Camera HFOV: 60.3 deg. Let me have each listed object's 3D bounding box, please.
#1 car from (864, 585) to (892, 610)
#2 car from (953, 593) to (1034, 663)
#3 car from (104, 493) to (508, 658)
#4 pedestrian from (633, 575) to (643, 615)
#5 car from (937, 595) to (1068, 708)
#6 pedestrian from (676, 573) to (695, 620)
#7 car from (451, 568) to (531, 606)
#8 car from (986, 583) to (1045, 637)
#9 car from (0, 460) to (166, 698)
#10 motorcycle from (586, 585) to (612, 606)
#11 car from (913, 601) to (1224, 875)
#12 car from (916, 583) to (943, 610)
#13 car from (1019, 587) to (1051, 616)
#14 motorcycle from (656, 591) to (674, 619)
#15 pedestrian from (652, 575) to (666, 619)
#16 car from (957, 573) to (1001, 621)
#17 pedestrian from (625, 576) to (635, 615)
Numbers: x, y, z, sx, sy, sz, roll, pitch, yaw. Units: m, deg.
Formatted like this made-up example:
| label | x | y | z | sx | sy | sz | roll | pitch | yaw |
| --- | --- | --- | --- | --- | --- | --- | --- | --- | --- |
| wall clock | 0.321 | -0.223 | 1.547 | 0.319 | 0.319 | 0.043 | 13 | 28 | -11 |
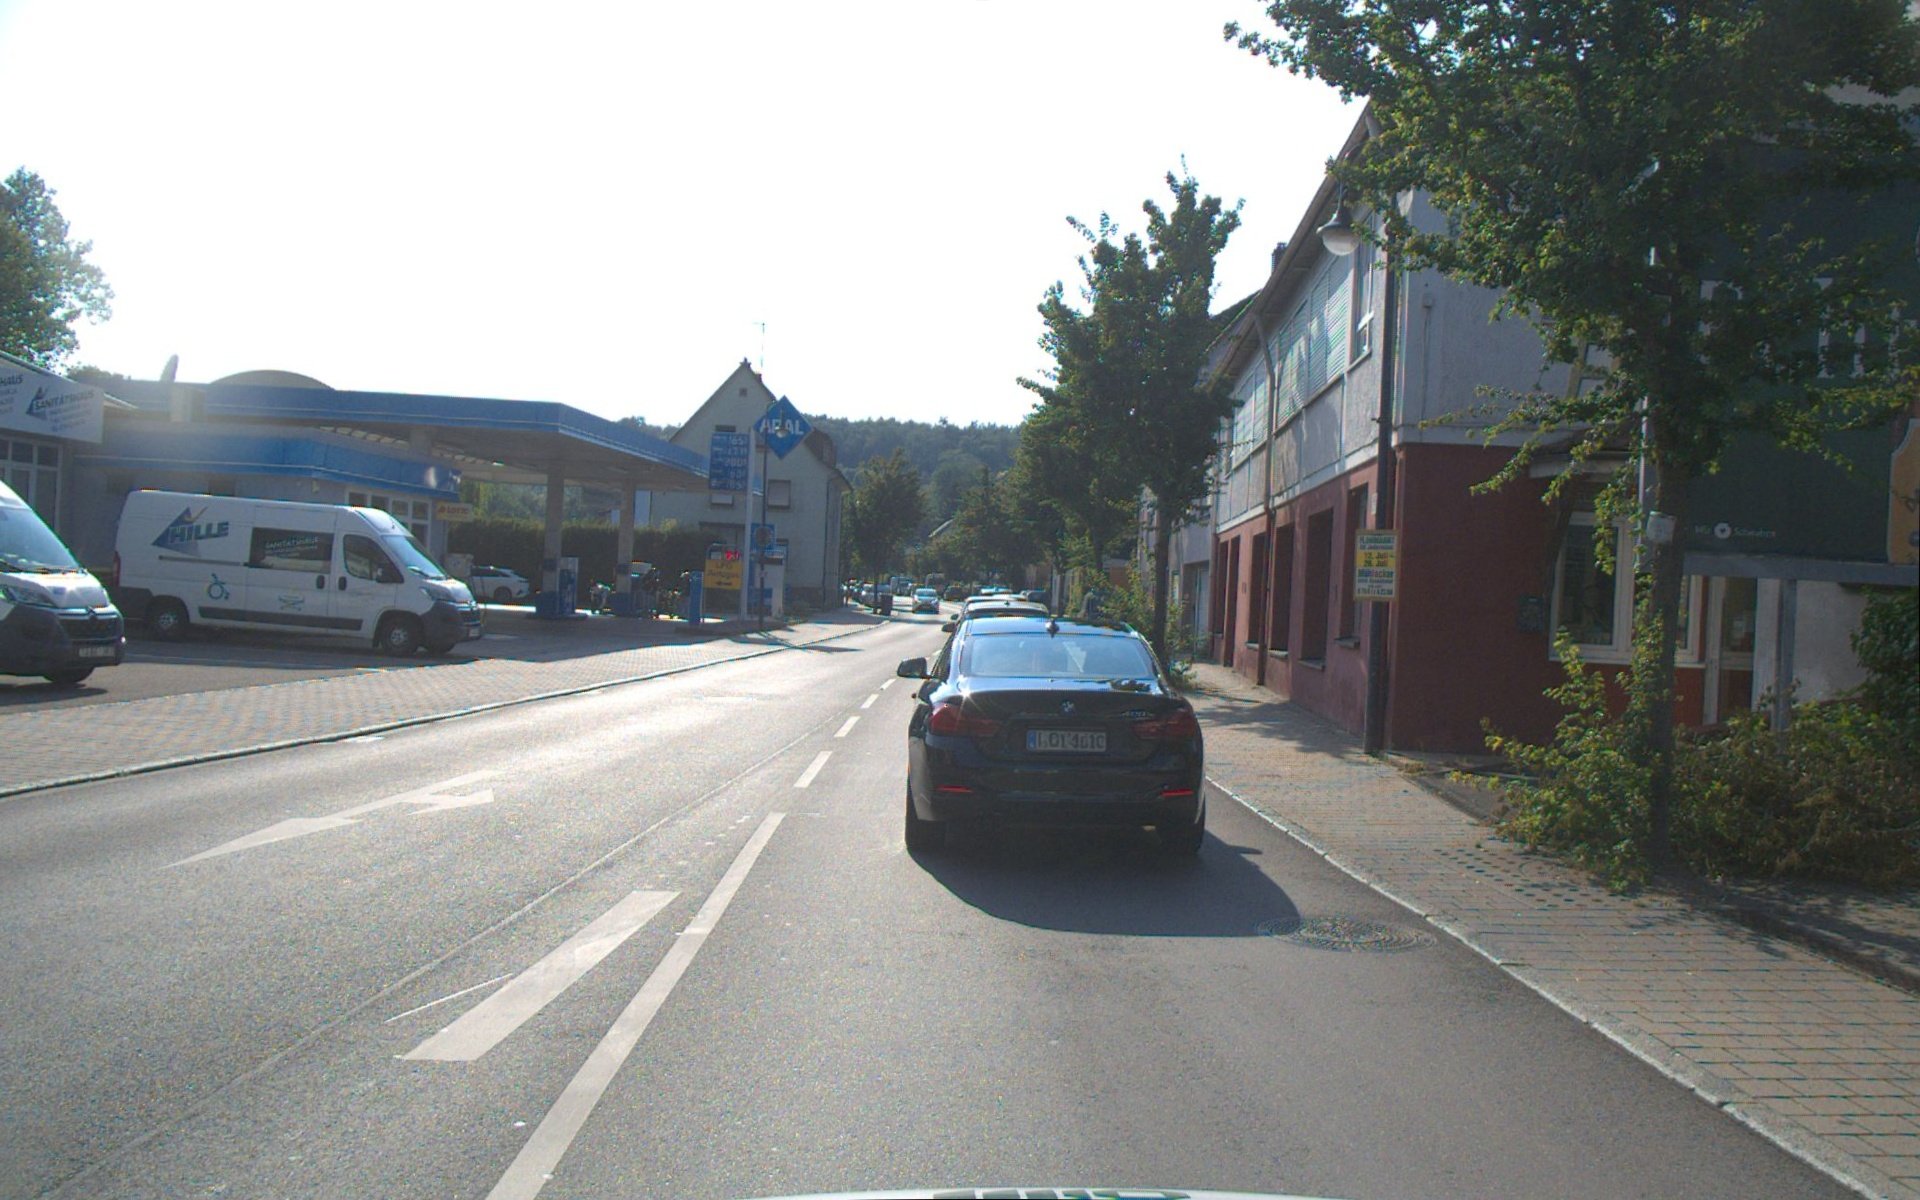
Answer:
| label | x | y | z | sx | sy | sz | roll | pitch | yaw |
| --- | --- | --- | --- | --- | --- | --- | --- | --- | --- |
| car | -5.278 | -0.181 | 106.713 | 1.564 | 1.511 | 3.474 | 2 | 1 | -1 |
| car | 0.769 | 0.603 | 37.569 | 1.717 | 1.438 | 3.422 | 2 | 1 | 1 |
| car | -11.255 | -0.425 | 28.800 | 6.032 | 2.487 | 2.250 | 3 | 1 | 0 |
| pedestrian | -11.590 | -0.187 | 59.503 | 0.258 | 1.407 | 0.286 | 1 | 0 | -23 |
| car | 0.682 | 0.696 | 24.237 | 1.734 | 1.481 | 3.517 | 2 | 0 | 3 |
| pedestrian | -9.914 | -0.135 | 59.780 | 0.598 | 1.699 | 0.442 | 1 | 0 | -3 |
| car | -19.194 | -0.541 | 67.721 | 3.100 | 1.452 | 1.433 | 1 | 1 | -17 |
| car | 1.741 | 0.287 | 52.792 | 1.560 | 1.628 | 3.892 | 2 | 1 | -2 |
| car | -12.562 | -0.360 | 19.006 | 5.795 | 2.523 | 2.195 | 3 | 1 | 5 |
| motorcycle | -13.054 | -0.170 | 59.822 | 0.449 | 0.742 | 1.475 | 2 | 1 | 7 |
| car | 0.560 | 0.753 | 11.109 | 1.665 | 1.393 | 4.262 | 1 | 1 | -1 |
| car | -1.802 | -0.201 | 98.393 | 1.564 | 1.511 | 3.474 | 2 | 1 | -1 |
| car | 4.240 | 0.072 | 94.269 | 1.564 | 1.511 | 3.474 | 2 | 1 | -1 |
| motorcycle | -10.556 | 0.164 | 59.172 | 0.356 | 0.960 | 1.695 | 2 | 1 | -1 |
| pedestrian | -10.872 | -0.100 | 59.826 | 0.399 | 1.574 | 0.432 | 1 | 0 | -3 |
| car | 0.766 | -0.132 | 64.977 | 1.569 | 1.798 | 3.412 | 2 | 1 | 3 |
| pedestrian | -11.730 | -0.152 | 58.790 | 0.281 | 1.390 | 0.262 | 1 | 0 | -4 |
